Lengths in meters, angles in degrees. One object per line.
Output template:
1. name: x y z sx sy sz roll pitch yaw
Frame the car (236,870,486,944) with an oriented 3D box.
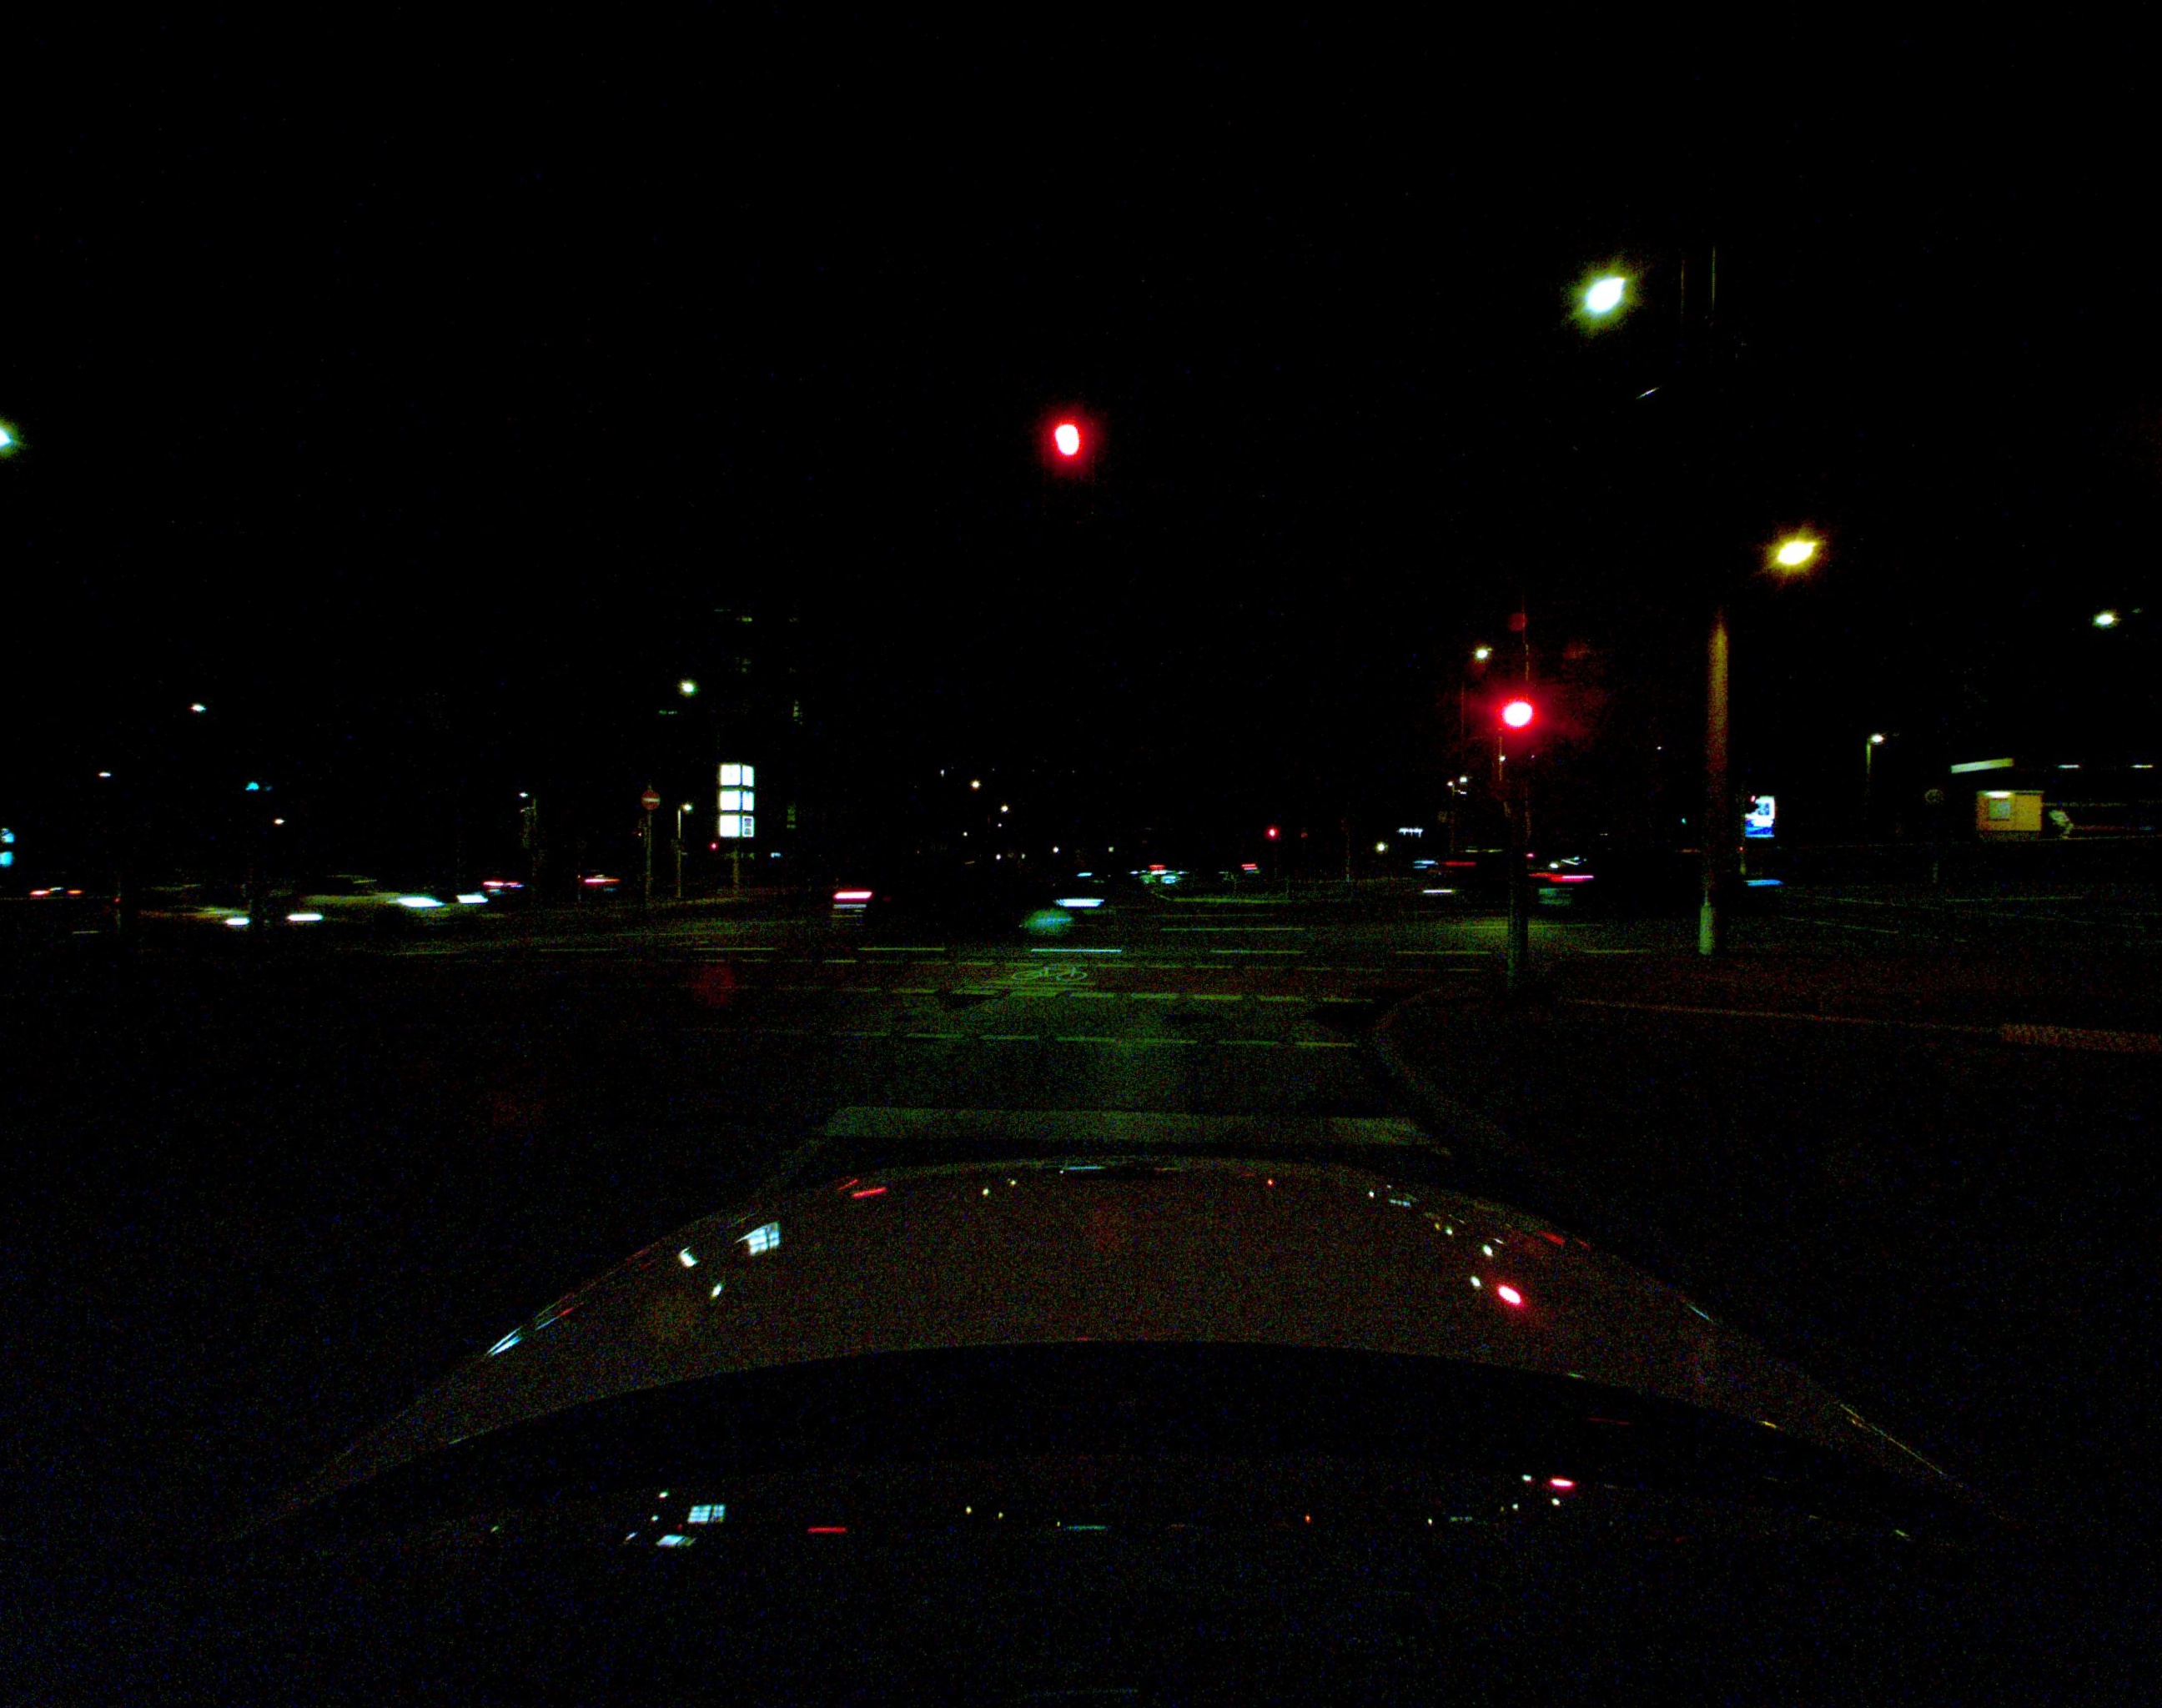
1. car: -18.086 1.309 20.578 4.897 1.598 1.747 -2 0 5

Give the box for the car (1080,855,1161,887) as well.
1. car: 1.994 0.827 40.255 3.852 1.405 1.771 -2 -1 5

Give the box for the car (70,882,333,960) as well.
1. car: -18.716 1.406 17.437 3.883 1.437 1.747 -1 0 5

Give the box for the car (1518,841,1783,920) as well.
1. car: 12.410 0.554 17.993 4.549 1.419 1.748 -2 2 5

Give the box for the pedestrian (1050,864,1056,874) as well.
1. pedestrian: -5.142 2.707 147.923 0.851 1.912 1.001 0 -1 -16

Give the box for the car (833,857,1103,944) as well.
1. car: -2.085 0.876 15.856 4.897 1.473 1.747 -1 0 5

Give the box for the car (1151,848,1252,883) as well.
1. car: 5.449 0.517 37.174 4.406 1.420 1.854 -2 -1 5

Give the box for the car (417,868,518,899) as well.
1. car: -32.919 1.581 43.756 4.212 1.585 1.806 -1 -1 6

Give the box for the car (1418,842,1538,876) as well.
1. car: 18.956 0.254 39.074 4.795 1.420 1.854 -2 -1 5

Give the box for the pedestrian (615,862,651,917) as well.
1. pedestrian: -14.075 1.104 25.604 0.671 1.722 0.710 -1 -2 27

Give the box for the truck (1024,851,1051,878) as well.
1. truck: -7.990 1.948 149.258 3.366 4.843 7.865 0 -1 -14

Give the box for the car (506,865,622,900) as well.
1. car: -25.347 1.388 39.992 4.551 1.585 1.848 0 1 3

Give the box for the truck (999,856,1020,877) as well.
1. truck: -10.531 1.831 120.156 2.419 3.089 6.412 0 -1 -11

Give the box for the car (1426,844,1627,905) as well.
1. car: 11.389 0.513 21.077 4.224 1.420 1.750 -1 2 9

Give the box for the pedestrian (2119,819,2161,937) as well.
1. pedestrian: 15.767 0.312 11.632 0.870 1.656 0.843 -7 -5 42

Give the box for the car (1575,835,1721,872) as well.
1. car: 24.638 -0.016 35.540 4.917 1.420 1.854 -2 -1 5
